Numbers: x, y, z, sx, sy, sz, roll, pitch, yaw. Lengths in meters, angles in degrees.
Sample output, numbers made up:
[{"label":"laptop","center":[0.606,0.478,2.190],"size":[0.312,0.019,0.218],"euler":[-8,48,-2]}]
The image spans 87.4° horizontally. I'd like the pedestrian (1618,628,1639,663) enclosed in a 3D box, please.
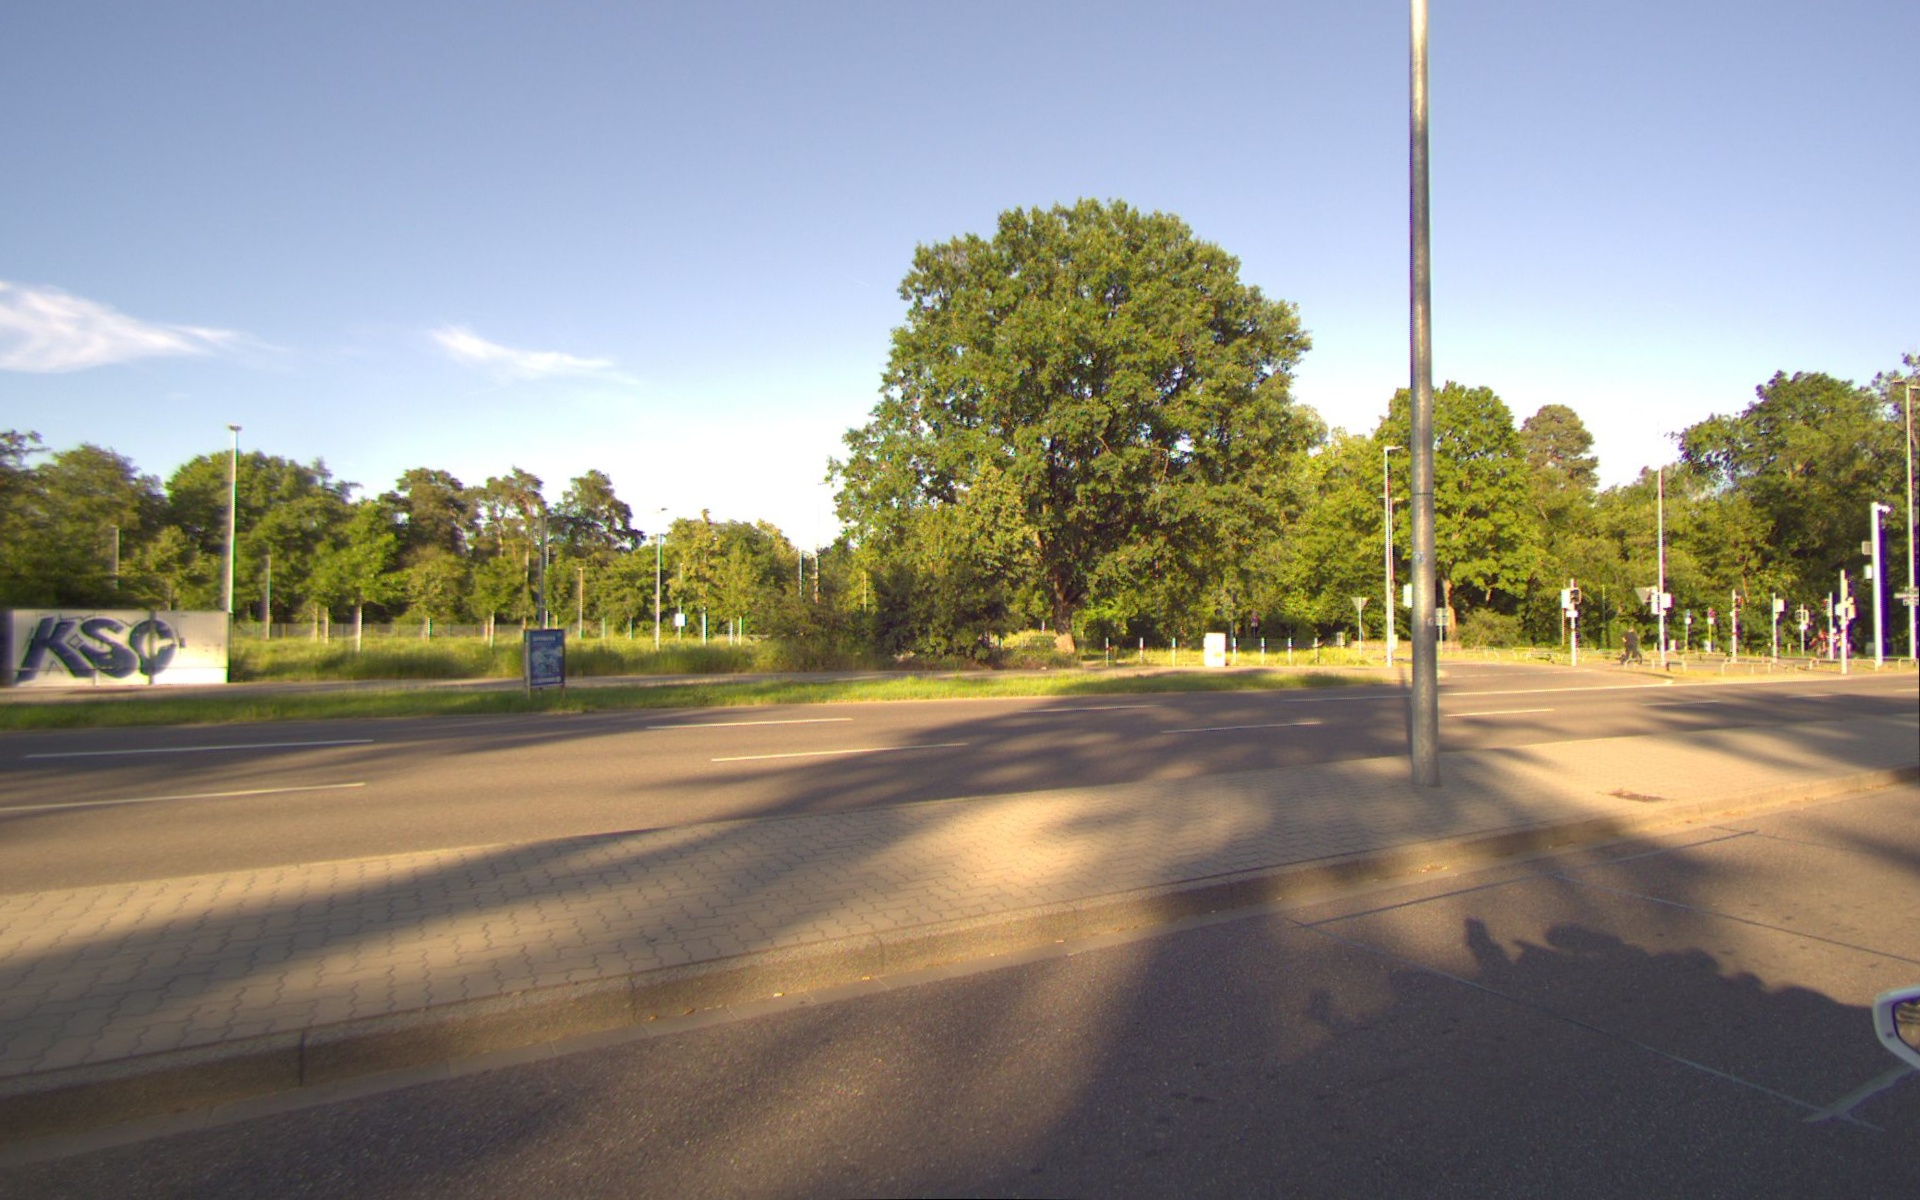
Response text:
[{"label":"pedestrian","center":[29.972,2.033,45.009],"size":[0.636,1.580,0.539],"euler":[-1,-2,18]}]
